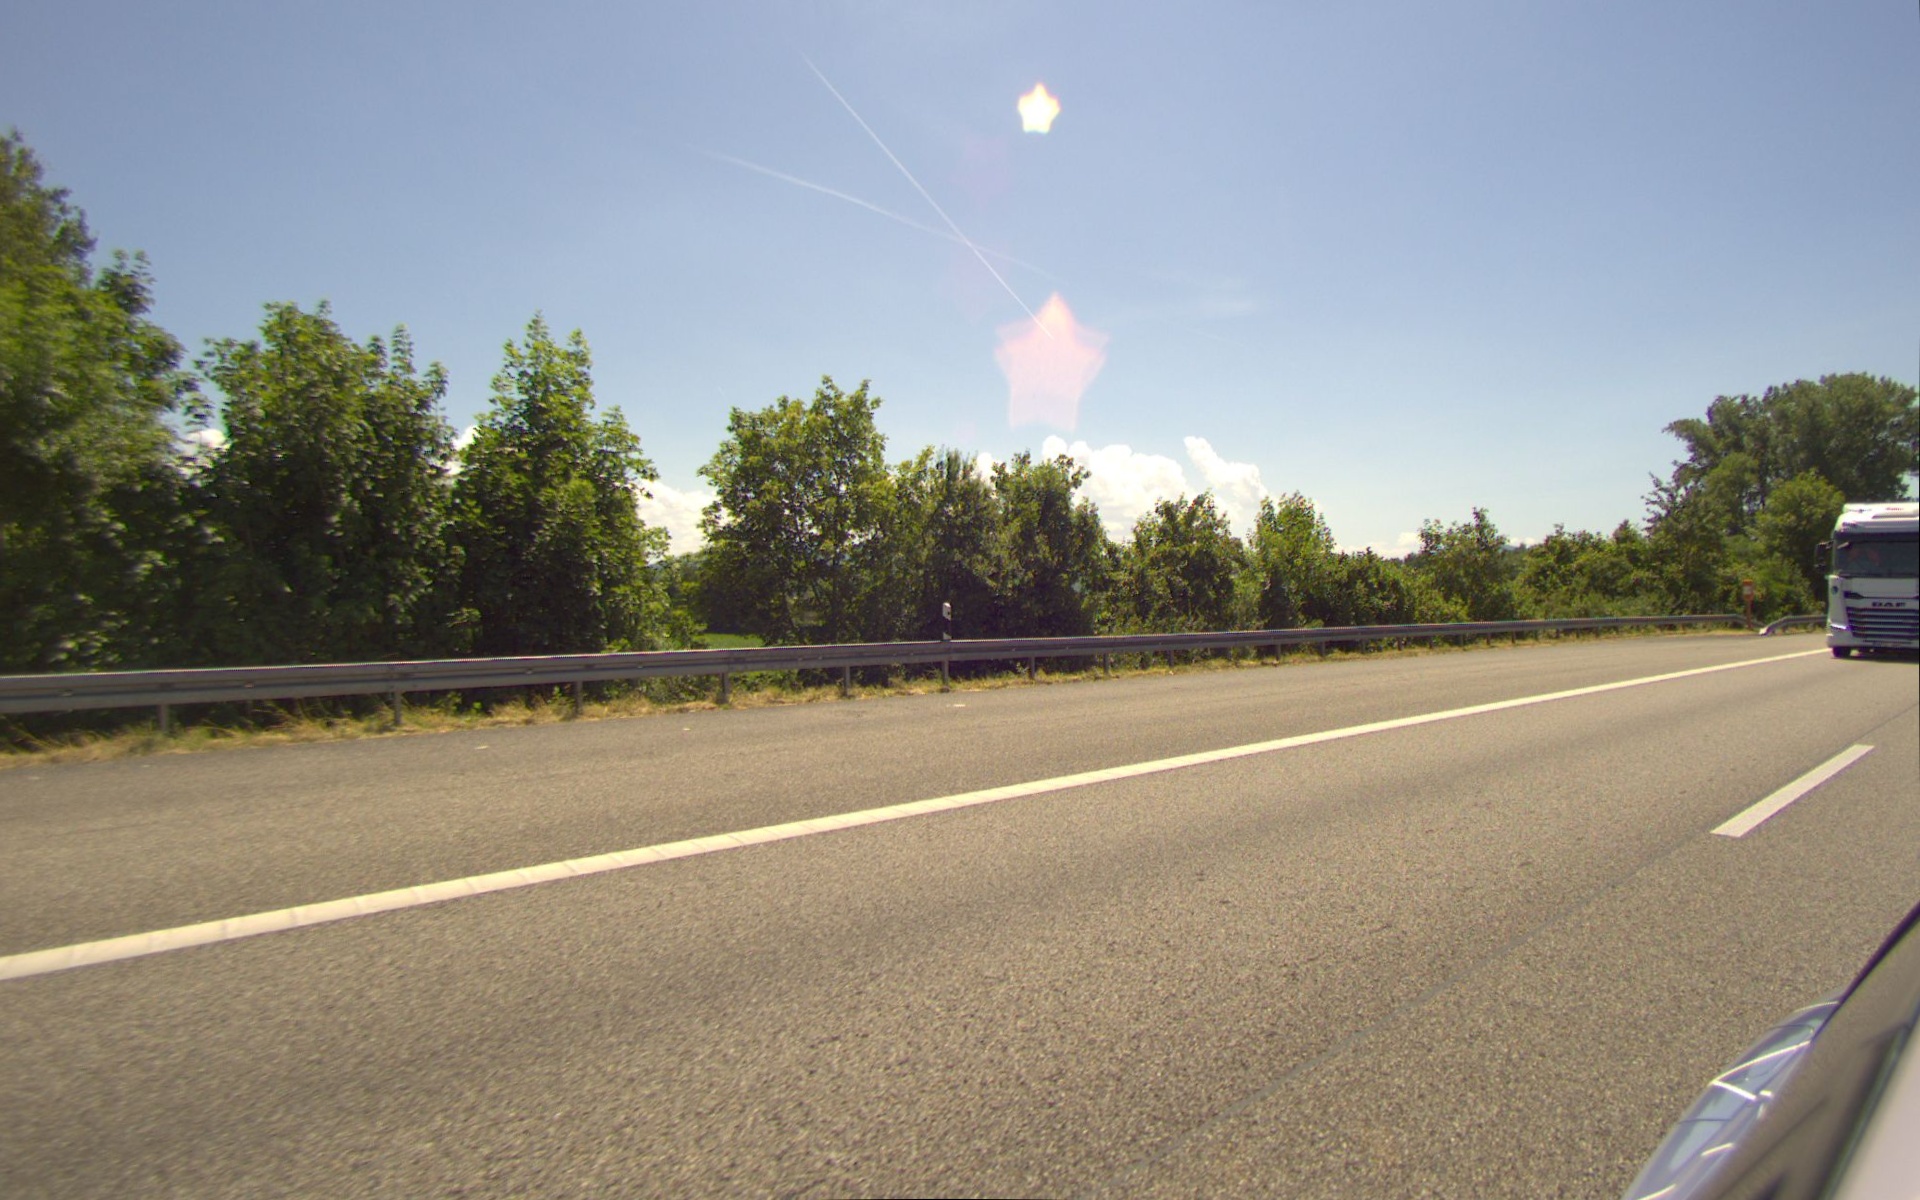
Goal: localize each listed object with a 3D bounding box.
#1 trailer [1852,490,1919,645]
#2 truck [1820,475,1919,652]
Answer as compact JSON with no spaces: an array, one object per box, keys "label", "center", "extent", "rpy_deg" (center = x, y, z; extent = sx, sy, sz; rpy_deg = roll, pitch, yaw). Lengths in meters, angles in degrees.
[{"label":"trailer","center":[30.425,-0.891,30.981],"extent":[12.311,4.157,2.965],"rpy_deg":[0,1,-41]},{"label":"truck","center":[24.684,-0.870,26.044],"extent":[6.097,4.157,2.965],"rpy_deg":[0,1,-40]}]
